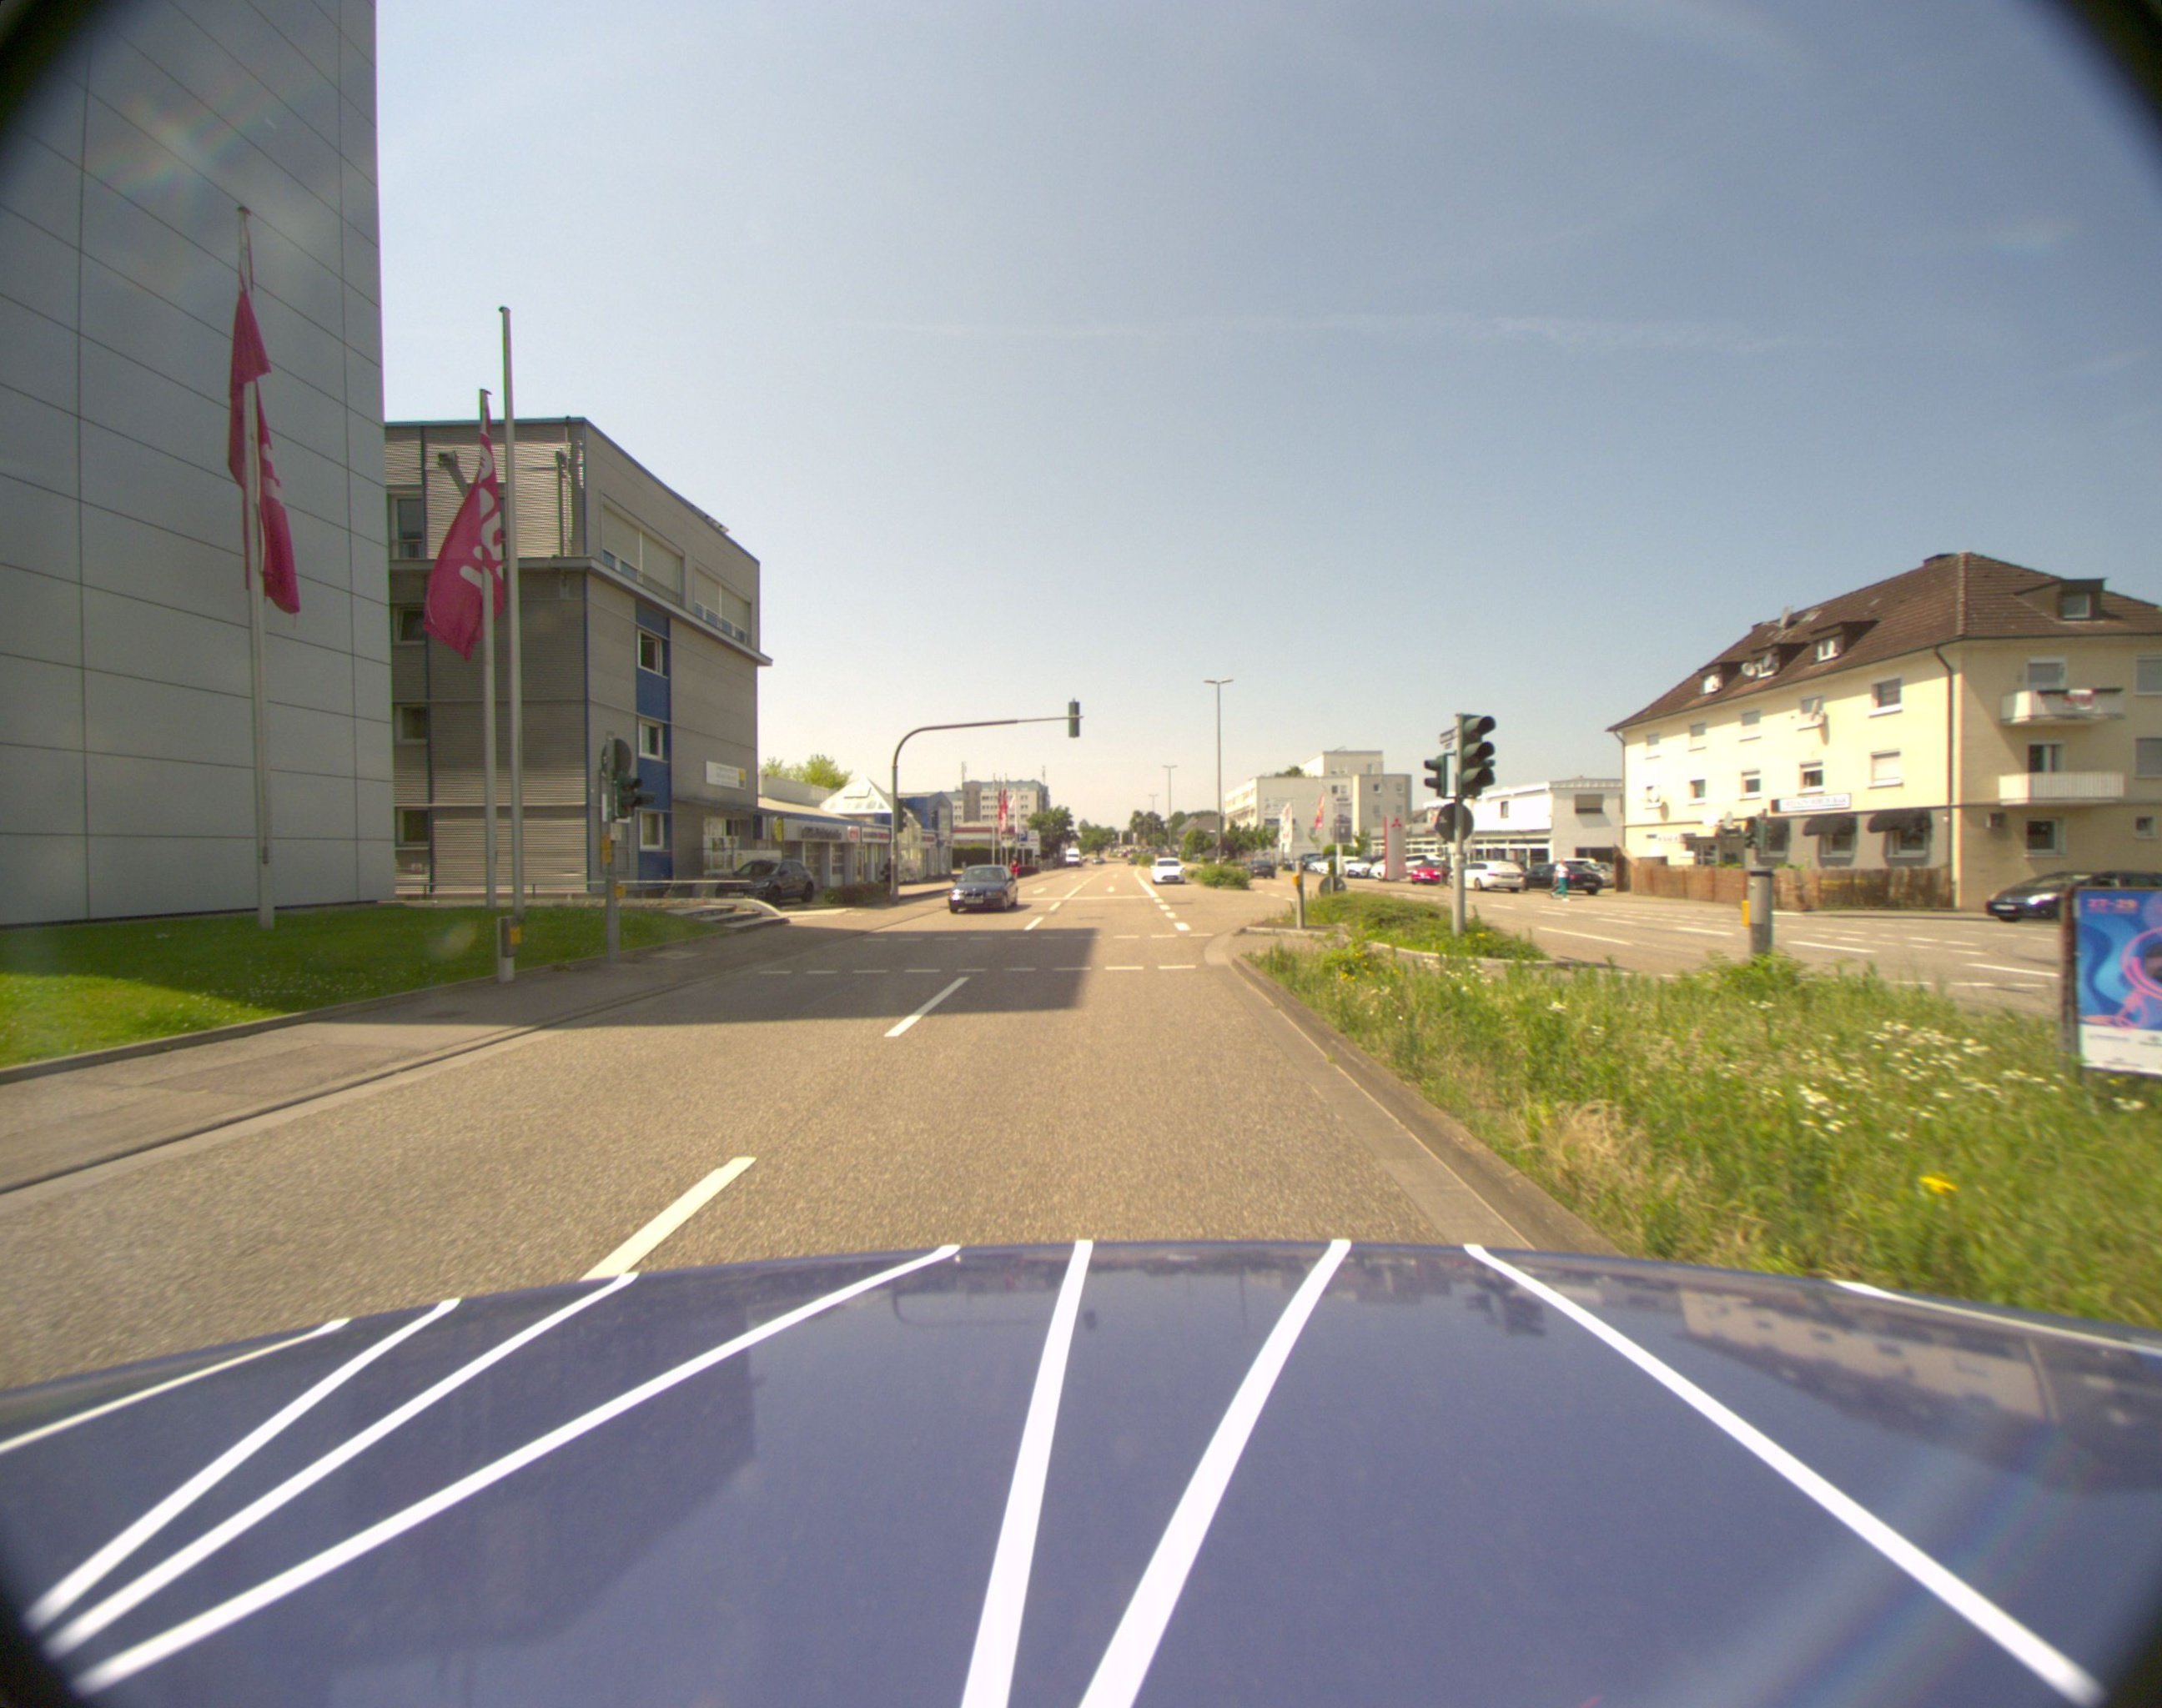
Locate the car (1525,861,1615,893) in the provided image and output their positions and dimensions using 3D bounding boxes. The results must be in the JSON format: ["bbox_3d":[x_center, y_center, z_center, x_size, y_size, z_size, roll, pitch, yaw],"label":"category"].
[{"bbox_3d":[23.131,1.050,36.125,1.737,1.343,4.000,0,0,0],"label":"car"}]

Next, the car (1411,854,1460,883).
[{"bbox_3d":[21.472,0.828,45.914,1.834,1.633,4.187,0,1,38],"label":"car"}]

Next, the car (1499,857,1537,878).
[{"bbox_3d":[27.440,0.803,47.794,1.646,1.244,4.007,0,0,24],"label":"car"}]

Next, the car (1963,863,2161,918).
[{"bbox_3d":[30.574,1.091,23.546,3.994,1.602,1.870,0,1,8],"label":"car"}]

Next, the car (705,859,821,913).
[{"bbox_3d":[-10.442,1.002,25.350,1.848,1.522,4.197,-2,0,3],"label":"car"}]

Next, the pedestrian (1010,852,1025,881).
[{"bbox_3d":[-4.169,0.812,49.993,0.787,1.836,0.936,0,1,5],"label":"pedestrian"}]

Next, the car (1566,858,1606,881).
[{"bbox_3d":[29.939,0.874,45.136,1.646,1.244,4.007,0,1,29],"label":"car"}]

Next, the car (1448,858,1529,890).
[{"bbox_3d":[19.883,0.923,37.336,1.779,1.402,4.760,1,1,6],"label":"car"}]

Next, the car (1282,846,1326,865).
[{"bbox_3d":[22.867,0.158,78.098,3.996,1.871,2.000,0,1,2],"label":"car"}]

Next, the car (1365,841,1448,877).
[{"bbox_3d":[21.438,0.321,50.172,4.557,1.699,1.760,-8,0,2],"label":"car"}]

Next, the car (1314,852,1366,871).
[{"bbox_3d":[22.629,0.667,66.481,3.995,1.599,1.926,0,1,5],"label":"car"}]

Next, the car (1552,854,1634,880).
[{"bbox_3d":[32.977,0.823,48.982,3.996,1.606,1.866,0,1,3],"label":"car"}]

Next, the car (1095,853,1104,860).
[{"bbox_3d":[3.976,0.495,160.243,1.866,1.550,4.000,0,0,2],"label":"car"}]

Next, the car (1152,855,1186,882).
[{"bbox_3d":[4.947,0.792,43.148,1.692,1.426,3.712,-1,0,3],"label":"car"}]

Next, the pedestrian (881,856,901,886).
[{"bbox_3d":[-10.190,0.914,40.790,0.811,1.617,0.853,0,1,6],"label":"pedestrian"}]

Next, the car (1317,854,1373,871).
[{"bbox_3d":[22.077,0.682,63.622,3.996,1.386,1.860,0,1,2],"label":"car"}]

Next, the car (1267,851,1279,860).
[{"bbox_3d":[29.404,0.211,116.454,1.456,1.332,2.834,0,0,5],"label":"car"}]

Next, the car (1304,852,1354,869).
[{"bbox_3d":[22.574,0.565,69.142,3.996,1.559,1.760,0,0,2],"label":"car"}]

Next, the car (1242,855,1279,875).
[{"bbox_3d":[13.742,0.830,58.538,1.998,1.477,4.502,0,1,3],"label":"car"}]

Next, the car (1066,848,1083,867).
[{"bbox_3d":[-0.937,0.438,115.827,2.182,2.758,7.278,2,0,2],"label":"car"}]

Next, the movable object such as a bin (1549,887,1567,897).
[{"bbox_3d":[19.775,1.583,31.505,0.417,0.370,0.506,0,1,4],"label":"movable object such as a bin"}]

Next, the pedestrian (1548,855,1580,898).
[{"bbox_3d":[19.810,0.899,31.185,0.742,1.737,1.034,0,1,5],"label":"pedestrian"}]

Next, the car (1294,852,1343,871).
[{"bbox_3d":[22.553,0.734,72.298,3.996,1.599,1.760,3,1,2],"label":"car"}]

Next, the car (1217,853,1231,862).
[{"bbox_3d":[24.286,0.517,129.343,1.695,1.440,3.666,-2,0,2],"label":"car"}]

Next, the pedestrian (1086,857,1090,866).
[{"bbox_3d":[1.281,1.425,138.205,0.704,1.572,0.820,2,1,-1],"label":"pedestrian"}]

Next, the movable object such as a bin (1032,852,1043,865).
[{"bbox_3d":[-5.038,0.525,88.689,1.133,1.461,1.490,0,1,4],"label":"movable object such as a bin"}]

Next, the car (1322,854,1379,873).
[{"bbox_3d":[21.615,0.730,61.091,3.996,1.458,1.760,0,1,2],"label":"car"}]

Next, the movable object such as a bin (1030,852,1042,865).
[{"bbox_3d":[-5.129,0.538,87.085,1.133,1.461,1.490,0,1,4],"label":"movable object such as a bin"}]

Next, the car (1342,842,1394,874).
[{"bbox_3d":[22.077,0.289,58.417,4.002,1.616,1.755,-15,9,-36],"label":"car"}]

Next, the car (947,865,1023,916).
[{"bbox_3d":[-2.869,1.067,23.365,1.631,1.331,3.757,-2,0,3],"label":"car"}]

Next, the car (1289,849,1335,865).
[{"bbox_3d":[22.976,0.275,75.655,3.996,1.599,2.089,0,1,2],"label":"car"}]
